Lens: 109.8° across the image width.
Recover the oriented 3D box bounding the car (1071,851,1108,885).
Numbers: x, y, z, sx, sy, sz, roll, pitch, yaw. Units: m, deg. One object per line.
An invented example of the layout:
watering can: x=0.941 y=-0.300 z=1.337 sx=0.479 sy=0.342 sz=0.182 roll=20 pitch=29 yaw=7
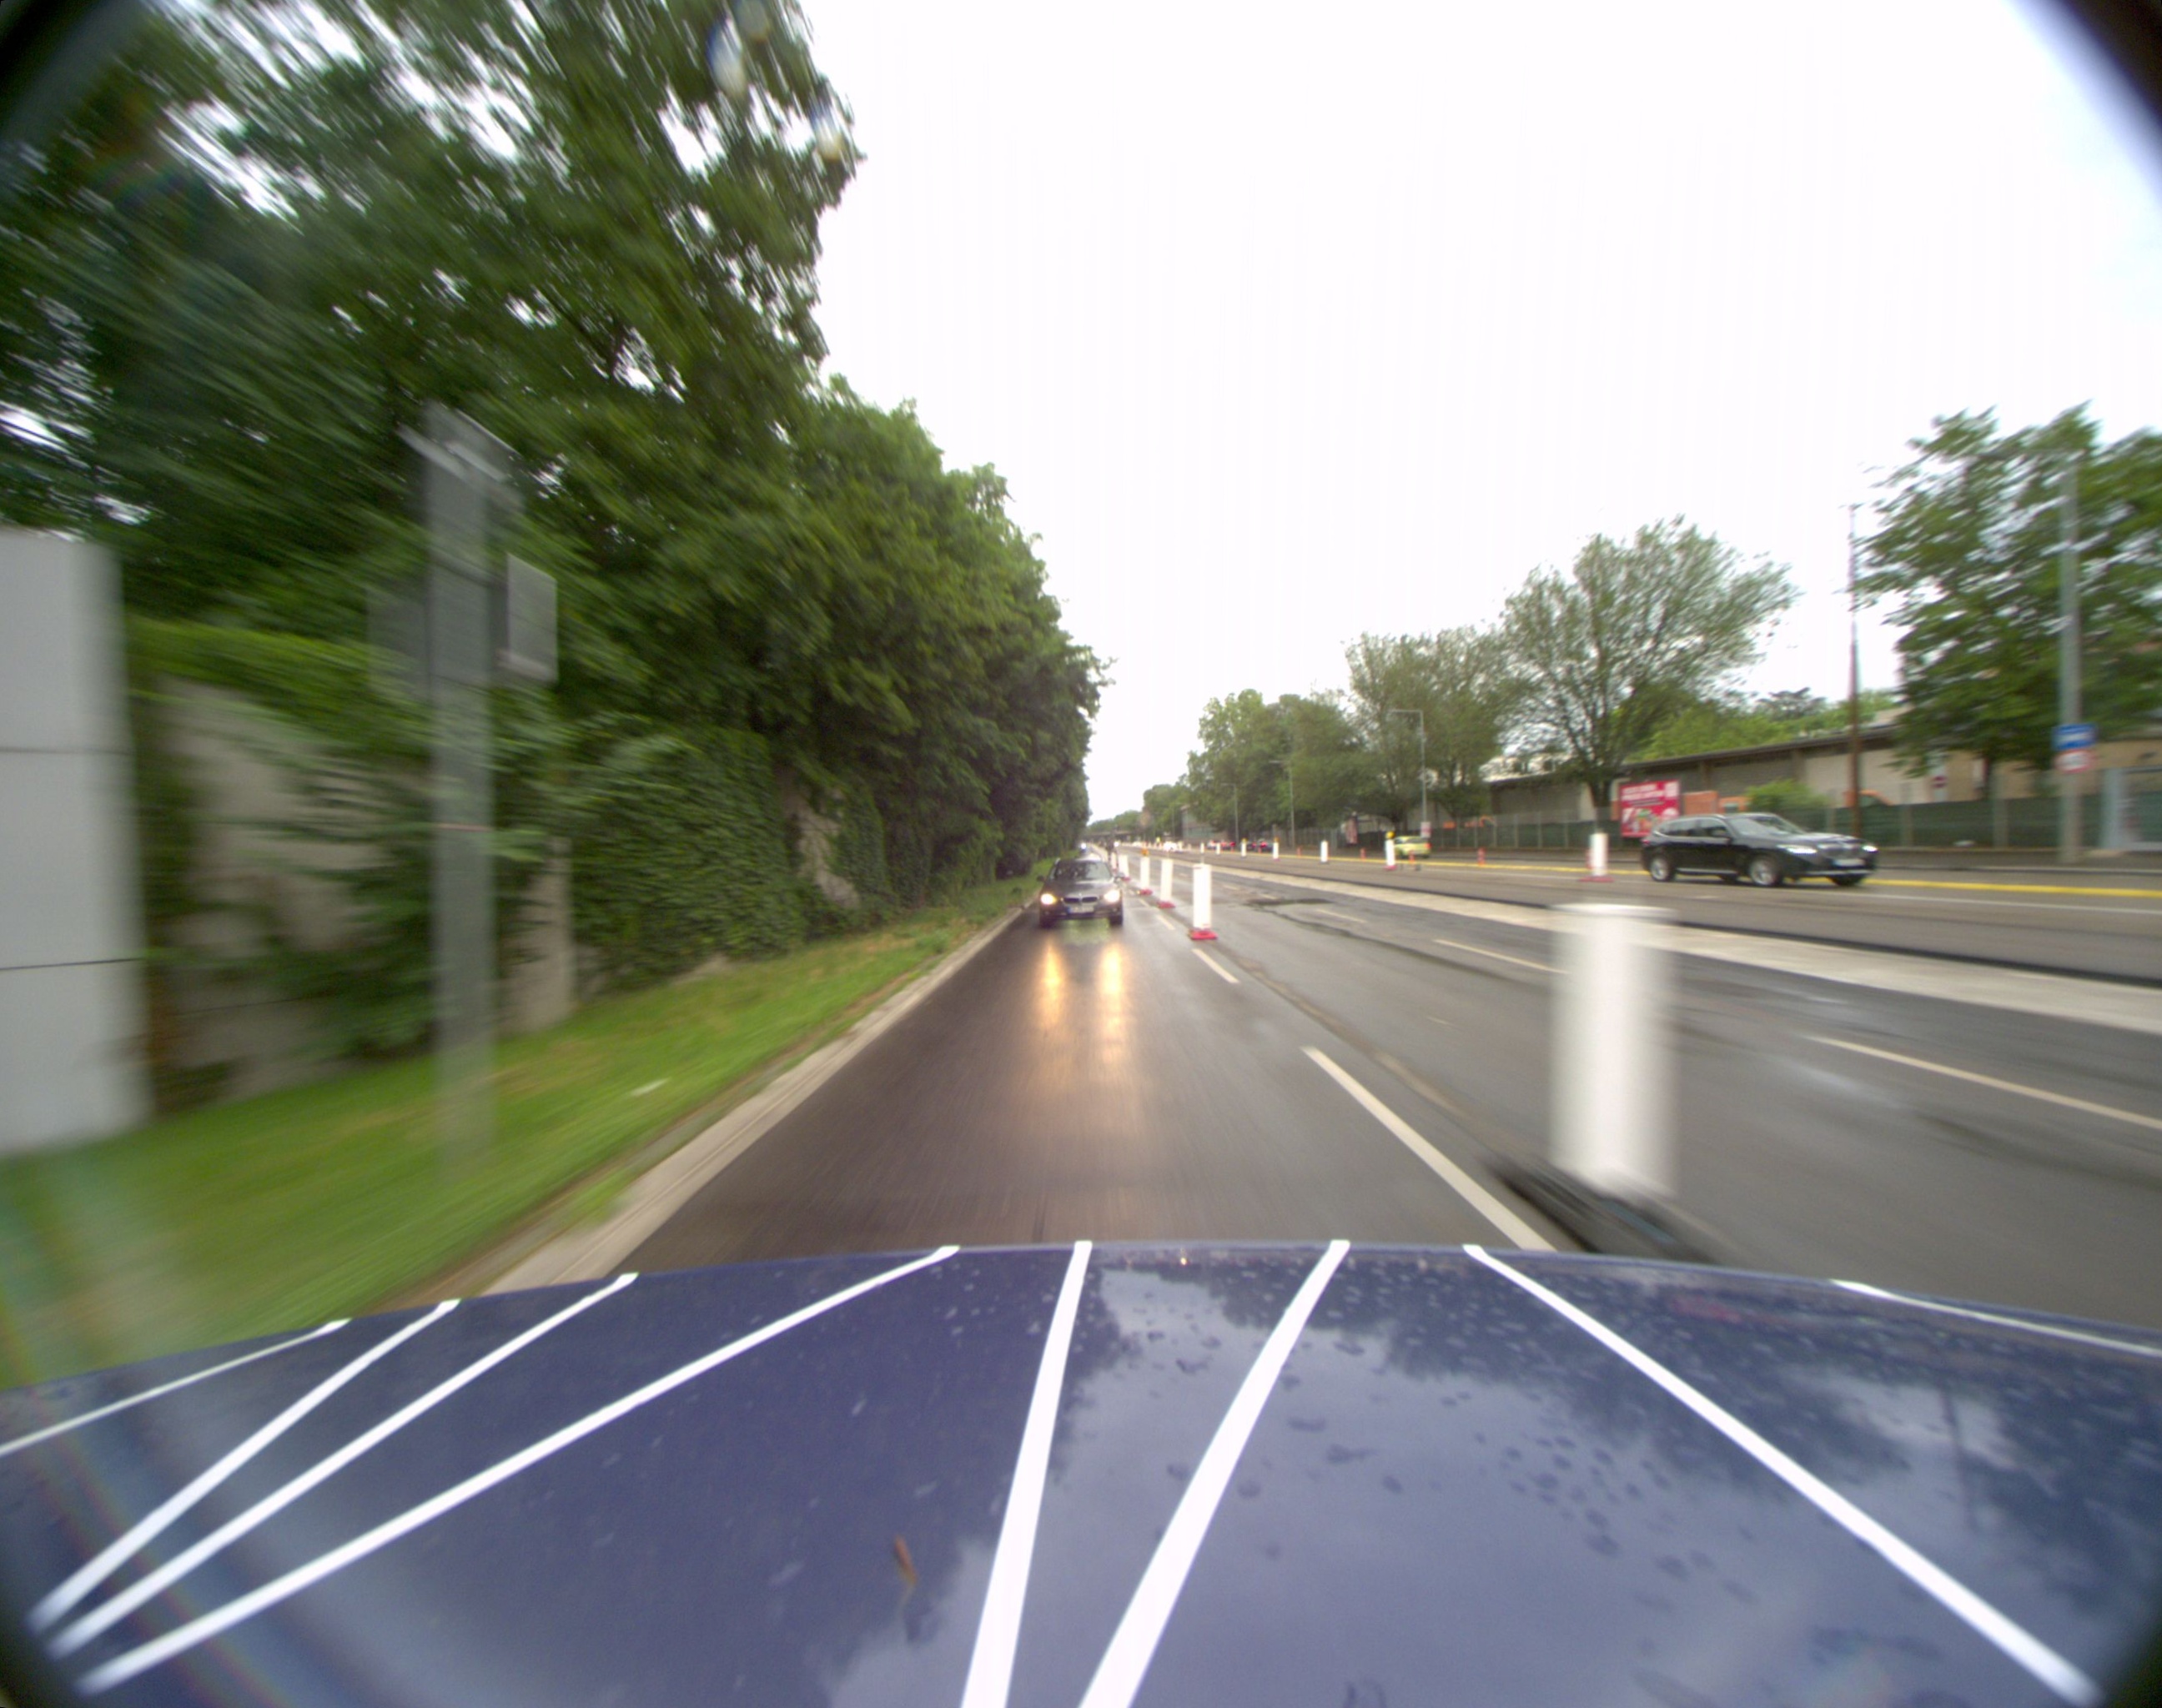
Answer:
car: x=0.447 y=0.675 z=39.468 sx=1.742 sy=1.454 sz=4.456 roll=-3 pitch=2 yaw=1

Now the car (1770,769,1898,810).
car: x=34.627 y=-2.933 z=35.125 sx=4.012 sy=1.519 sz=2.003 roll=-1 pitch=2 yaw=39

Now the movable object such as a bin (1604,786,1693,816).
movable object such as a bin: x=33.557 y=-3.125 z=44.984 sx=4.012 sy=1.519 sz=1.756 roll=-1 pitch=3 yaw=44

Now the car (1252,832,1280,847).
car: x=21.887 y=-1.757 z=90.132 sx=1.865 sy=1.621 sz=4.325 roll=-1 pitch=2 yaw=-6

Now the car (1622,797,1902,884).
car: x=15.248 y=-0.314 z=17.527 sx=1.998 sy=1.696 sz=4.983 roll=-1 pitch=1 yaw=1

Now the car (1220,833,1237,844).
car: x=22.225 y=-2.377 z=114.773 sx=1.863 sy=1.610 sz=4.363 roll=-1 pitch=2 yaw=1

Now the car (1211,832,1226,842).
car: x=23.171 y=-2.865 z=128.064 sx=1.863 sy=1.696 sz=4.363 roll=-1 pitch=2 yaw=1

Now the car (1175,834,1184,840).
car: x=22.588 y=-3.823 z=174.650 sx=1.671 sy=1.308 sz=4.453 roll=-1 pitch=2 yaw=1

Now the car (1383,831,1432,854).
car: x=21.179 y=-0.780 z=49.443 sx=1.557 sy=1.360 sz=3.803 roll=-1 pitch=2 yaw=0

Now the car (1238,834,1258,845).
car: x=22.250 y=-1.973 z=101.497 sx=1.863 sy=1.467 sz=3.731 roll=-1 pitch=2 yaw=1

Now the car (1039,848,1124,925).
car: x=0.050 y=0.686 z=18.659 sx=1.742 sy=1.454 sz=4.456 roll=-3 pitch=2 yaw=1
